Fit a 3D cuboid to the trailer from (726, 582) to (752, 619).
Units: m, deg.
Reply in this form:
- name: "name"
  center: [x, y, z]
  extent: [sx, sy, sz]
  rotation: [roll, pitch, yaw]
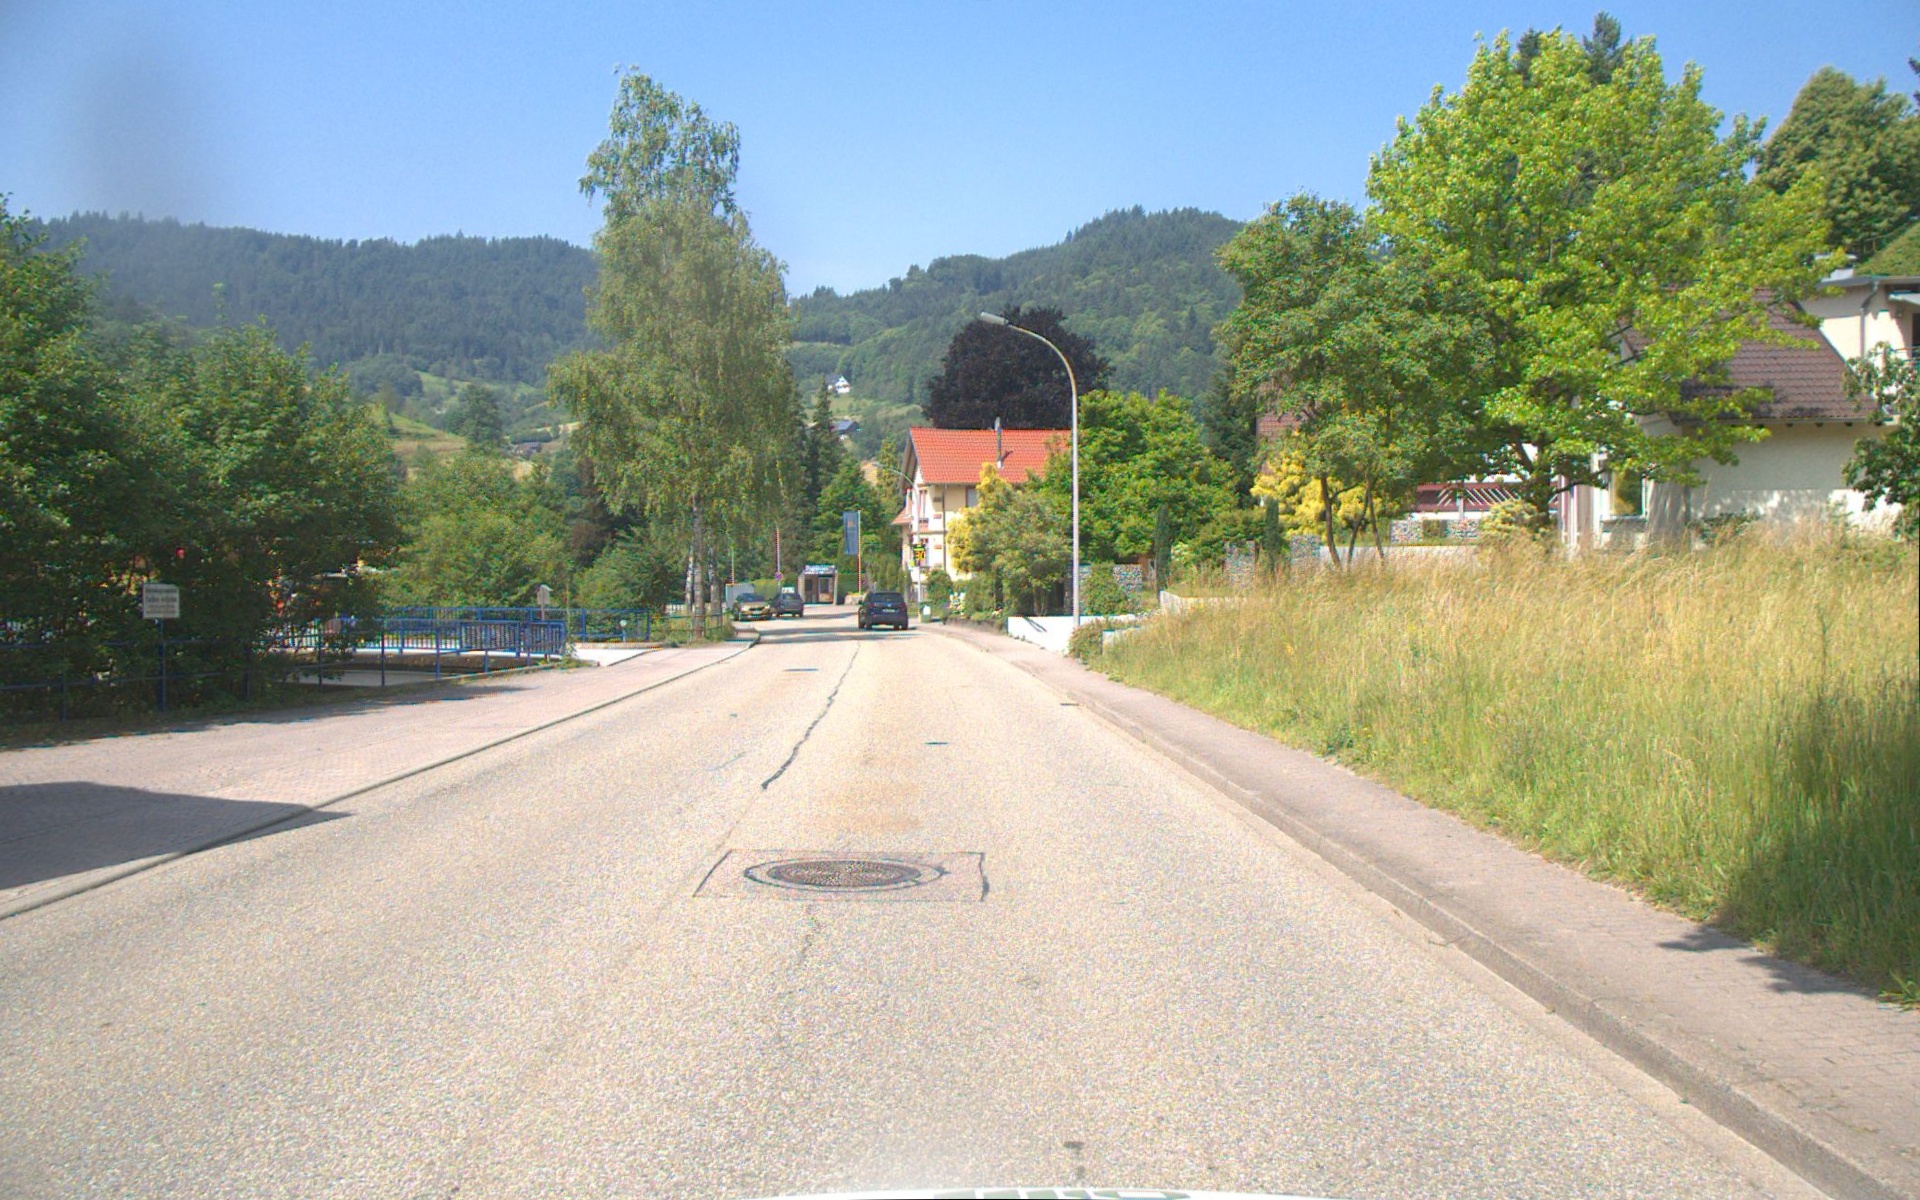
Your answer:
- name: "trailer"
  center: [-13.298, 0.009, 99.282]
  extent: [1.439, 2.114, 3.663]
  rotation: [-2, 0, -8]

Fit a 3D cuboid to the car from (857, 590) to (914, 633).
- name: "car"
  center: [-3.213, 0.459, 70.598]
  extent: [1.885, 1.728, 3.778]
  rotation: [-2, 0, -11]

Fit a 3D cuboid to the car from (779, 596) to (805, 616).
- name: "car"
  center: [-10.508, 0.367, 103.589]
  extent: [1.447, 1.230, 2.383]
  rotation: [-2, 1, -3]

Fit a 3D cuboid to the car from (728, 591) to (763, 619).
- name: "car"
  center: [-12.390, 0.264, 95.253]
  extent: [1.781, 1.527, 4.139]
  rotation: [-2, 0, -10]

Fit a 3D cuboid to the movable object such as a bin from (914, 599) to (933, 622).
- name: "movable object such as a bin"
  center: [-1.749, 0.488, 79.095]
  extent: [0.794, 1.060, 0.577]
  rotation: [-2, 1, -11]
